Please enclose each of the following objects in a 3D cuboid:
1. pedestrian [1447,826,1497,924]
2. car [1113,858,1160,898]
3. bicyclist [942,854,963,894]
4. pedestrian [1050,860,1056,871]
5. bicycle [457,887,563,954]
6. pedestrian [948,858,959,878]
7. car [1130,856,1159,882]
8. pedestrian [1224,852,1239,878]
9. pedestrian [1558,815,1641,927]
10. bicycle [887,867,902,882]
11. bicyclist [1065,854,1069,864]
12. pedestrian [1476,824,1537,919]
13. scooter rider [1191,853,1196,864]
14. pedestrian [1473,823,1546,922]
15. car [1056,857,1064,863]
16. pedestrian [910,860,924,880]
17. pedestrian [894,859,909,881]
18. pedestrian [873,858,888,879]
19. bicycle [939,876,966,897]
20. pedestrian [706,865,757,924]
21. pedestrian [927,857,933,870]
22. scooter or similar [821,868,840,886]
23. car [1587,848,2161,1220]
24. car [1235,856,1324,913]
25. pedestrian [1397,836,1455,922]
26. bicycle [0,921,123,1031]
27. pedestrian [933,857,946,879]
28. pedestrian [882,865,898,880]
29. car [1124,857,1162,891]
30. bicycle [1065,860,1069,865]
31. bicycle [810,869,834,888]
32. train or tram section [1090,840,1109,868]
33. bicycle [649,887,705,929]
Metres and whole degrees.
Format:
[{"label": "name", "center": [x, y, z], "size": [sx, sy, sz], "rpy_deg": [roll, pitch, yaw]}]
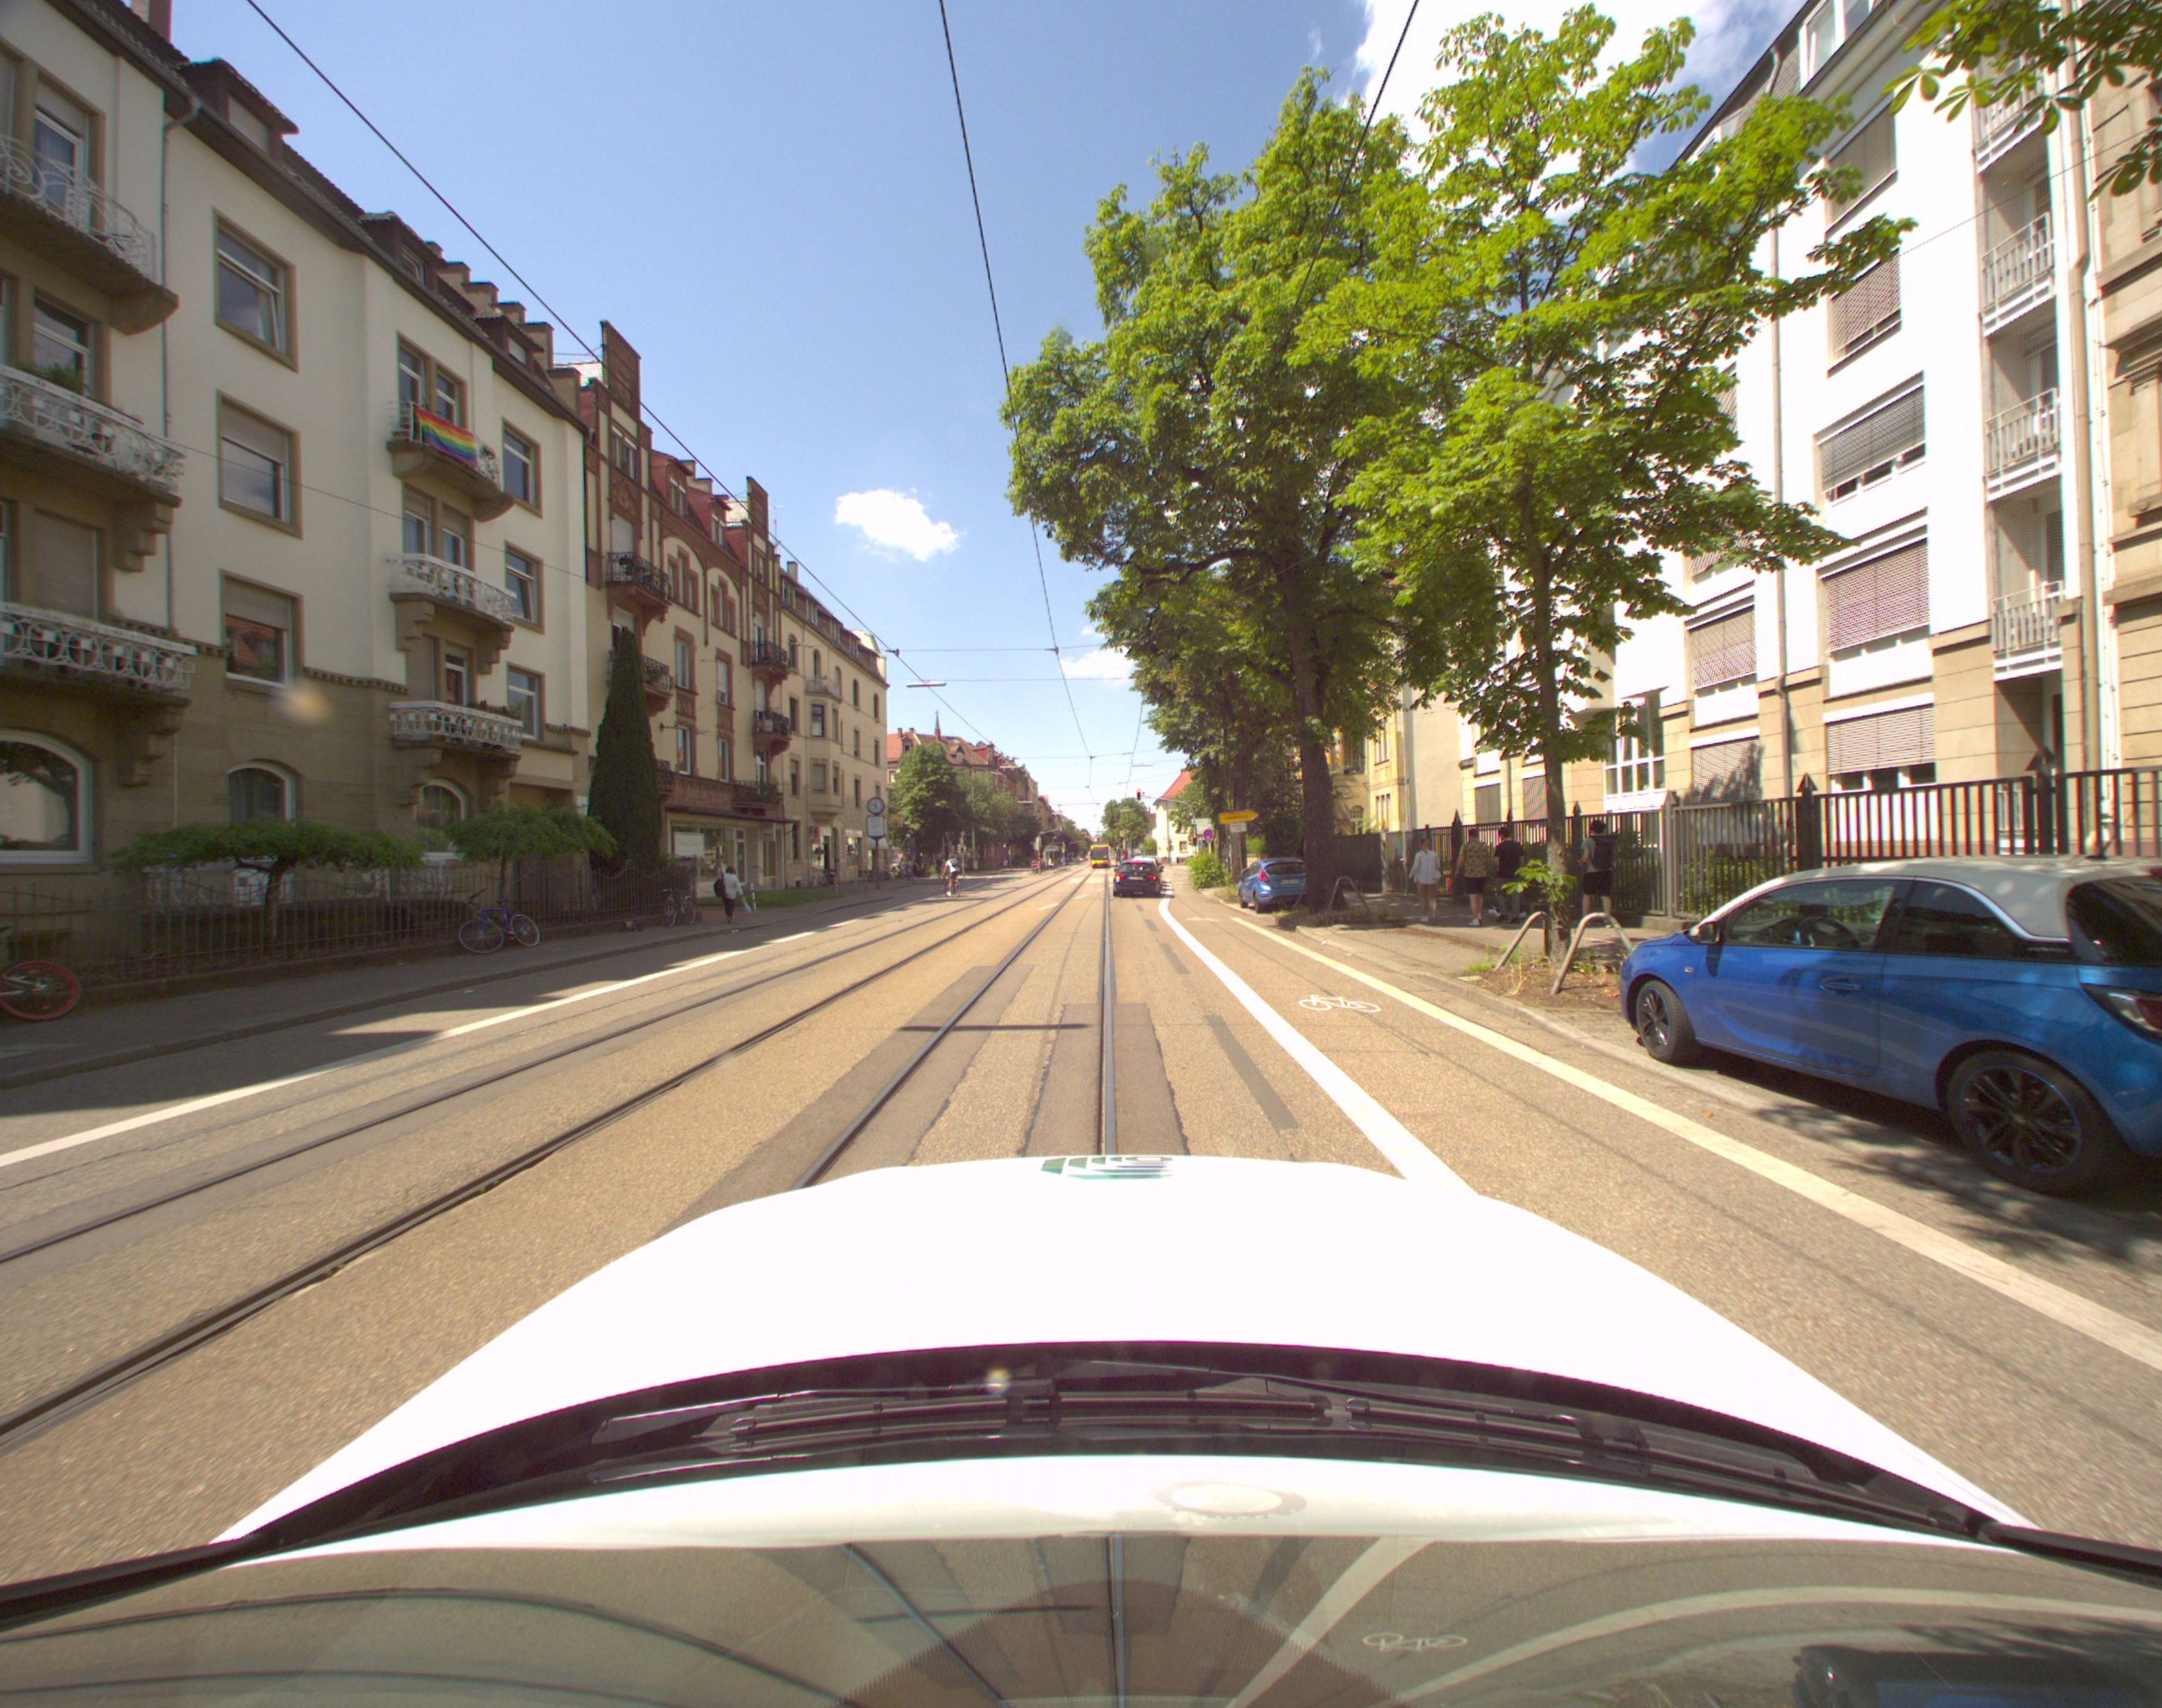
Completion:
[{"label": "pedestrian", "center": [7.325, 0.385, 15.292], "size": [0.699, 1.776, 0.952], "rpy_deg": [-2, 0, 20]}, {"label": "car", "center": [2.160, 0.881, 31.859], "size": [1.715, 1.409, 4.569], "rpy_deg": [1, 0, 4]}, {"label": "bicyclist", "center": [-5.427, 0.820, 34.362], "size": [0.758, 1.663, 0.825], "rpy_deg": [0, -1, -19]}, {"label": "pedestrian", "center": [-3.336, 1.389, 96.148], "size": [0.612, 1.243, 0.627], "rpy_deg": [-1, -1, -4]}, {"label": "bicycle", "center": [-10.357, 1.177, 14.845], "size": [0.605, 1.065, 1.772], "rpy_deg": [2, 0, 1]}, {"label": "pedestrian", "center": [-11.102, 1.220, 70.920], "size": [0.915, 1.723, 0.839], "rpy_deg": [-2, -1, -5]}, {"label": "car", "center": [3.969, 0.891, 50.698], "size": [1.683, 1.514, 3.827], "rpy_deg": [0, 0, 6]}, {"label": "pedestrian", "center": [9.836, 0.734, 53.087], "size": [0.852, 1.646, 0.838], "rpy_deg": [-2, -1, 6]}, {"label": "pedestrian", "center": [8.768, 0.281, 13.810], "size": [0.682, 1.797, 1.084], "rpy_deg": [-2, 0, 1]}, {"label": "bicycle", "center": [-14.799, 1.666, 64.619], "size": [0.547, 1.128, 1.664], "rpy_deg": [-1, -3, -35]}, {"label": "bicyclist", "center": [-2.796, 0.931, 159.783], "size": [0.720, 1.870, 0.825], "rpy_deg": [-2, -1, 0]}, {"label": "pedestrian", "center": [8.447, 0.339, 16.200], "size": [0.658, 1.811, 0.977], "rpy_deg": [-2, 0, 1]}, {"label": "scooter rider", "center": [17.076, 0.686, 123.994], "size": [0.589, 1.687, 0.528], "rpy_deg": [-2, -1, -4]}, {"label": "pedestrian", "center": [7.975, 0.341, 15.193], "size": [0.785, 1.761, 1.052], "rpy_deg": [-2, 0, 1]}, {"label": "car", "center": [-5.696, 1.730, 220.880], "size": [1.785, 1.586, 3.990], "rpy_deg": [0, -1, -7]}, {"label": "pedestrian", "center": [-13.708, 1.350, 68.017], "size": [0.857, 1.635, 1.026], "rpy_deg": [-2, -1, 0]}, {"label": "pedestrian", "center": [-14.365, 1.290, 65.171], "size": [0.780, 1.732, 0.852], "rpy_deg": [0, -1, -42]}, {"label": "pedestrian", "center": [-15.560, 1.096, 63.210], "size": [0.914, 1.595, 0.809], "rpy_deg": [-2, -1, -2]}, {"label": "bicycle", "center": [-5.469, 1.349, 34.537], "size": [0.755, 0.817, 1.808], "rpy_deg": [-2, 0, -20]}, {"label": "pedestrian", "center": [-9.530, 1.093, 22.235], "size": [0.897, 1.542, 0.984], "rpy_deg": [-2, 0, 1]}, {"label": "pedestrian", "center": [-21.816, 1.367, 117.721], "size": [0.742, 1.811, 0.635], "rpy_deg": [-1, -1, -28]}, {"label": "scooter or similar", "center": [-14.810, 1.369, 48.175], "size": [0.699, 1.044, 1.196], "rpy_deg": [1, -1, -39]}, {"label": "car", "center": [5.027, 0.723, 5.012], "size": [1.685, 1.453, 3.474], "rpy_deg": [-2, 0, 1]}, {"label": "car", "center": [5.574, 0.805, 23.278], "size": [1.671, 1.443, 3.721], "rpy_deg": [-2, 0, 1]}, {"label": "pedestrian", "center": [6.855, 0.485, 16.229], "size": [0.762, 1.651, 0.976], "rpy_deg": [-2, 0, 6]}, {"label": "bicycle", "center": [-10.541, 1.203, 7.888], "size": [0.411, 0.966, 1.726], "rpy_deg": [2, 0, 2]}, {"label": "pedestrian", "center": [-12.398, 1.176, 71.235], "size": [0.897, 1.891, 1.165], "rpy_deg": [-1, -1, 1]}, {"label": "pedestrian", "center": [-14.330, 1.404, 61.036], "size": [0.912, 1.077, 0.883], "rpy_deg": [-2, -1, 3]}, {"label": "car", "center": [2.950, 0.932, 38.838], "size": [1.677, 1.484, 3.688], "rpy_deg": [-2, 0, 4]}, {"label": "bicycle", "center": [-2.793, 1.672, 159.804], "size": [0.726, 1.101, 1.716], "rpy_deg": [-2, 0, 1]}, {"label": "bicycle", "center": [-14.684, 1.400, 46.194], "size": [0.366, 1.066, 1.473], "rpy_deg": [-1, -2, 25]}, {"label": "train or tram section", "center": [2.467, -0.046, 107.466], "size": [2.182, 3.482, 8.848], "rpy_deg": [-2, 0, 2]}, {"label": "bicycle", "center": [-10.171, 1.338, 20.589], "size": [0.409, 0.961, 1.842], "rpy_deg": [2, -1, 2]}]
